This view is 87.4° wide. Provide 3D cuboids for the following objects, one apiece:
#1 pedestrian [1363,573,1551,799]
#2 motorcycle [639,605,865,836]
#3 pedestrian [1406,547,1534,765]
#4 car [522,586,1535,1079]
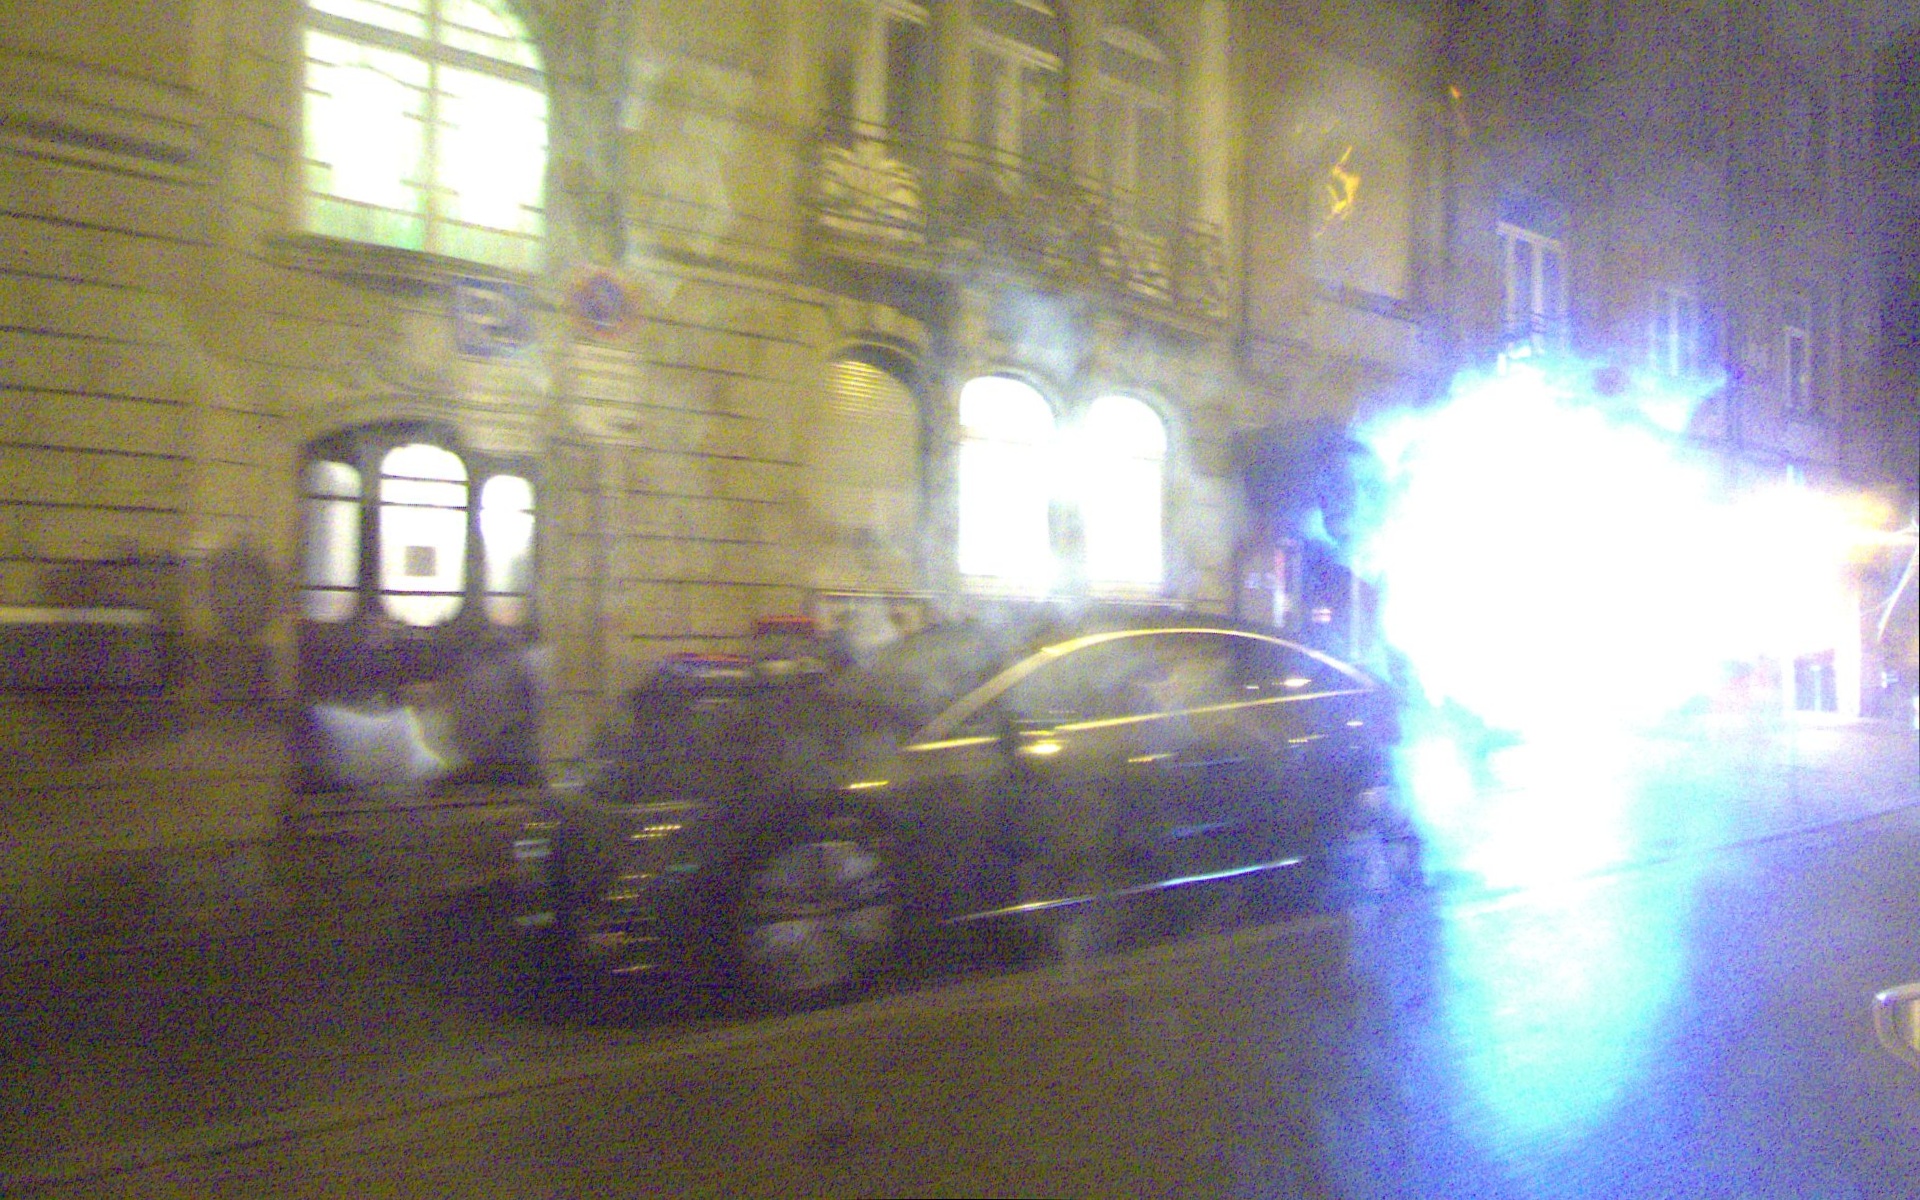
[{"bbox_3d":[4.543,0.745,9.195,1.399,1.888,0.951,1,-2,-31],"label":"pedestrian"},{"bbox_3d":[-1.455,0.801,7.093,1.441,1.490,0.534,2,0,-31],"label":"motorcycle"},{"bbox_3d":[5.633,0.601,11.104,1.104,2.270,0.795,1,-2,-31],"label":"pedestrian"},{"bbox_3d":[0.574,0.784,5.107,4.971,1.498,1.838,2,-1,-30],"label":"car"}]
